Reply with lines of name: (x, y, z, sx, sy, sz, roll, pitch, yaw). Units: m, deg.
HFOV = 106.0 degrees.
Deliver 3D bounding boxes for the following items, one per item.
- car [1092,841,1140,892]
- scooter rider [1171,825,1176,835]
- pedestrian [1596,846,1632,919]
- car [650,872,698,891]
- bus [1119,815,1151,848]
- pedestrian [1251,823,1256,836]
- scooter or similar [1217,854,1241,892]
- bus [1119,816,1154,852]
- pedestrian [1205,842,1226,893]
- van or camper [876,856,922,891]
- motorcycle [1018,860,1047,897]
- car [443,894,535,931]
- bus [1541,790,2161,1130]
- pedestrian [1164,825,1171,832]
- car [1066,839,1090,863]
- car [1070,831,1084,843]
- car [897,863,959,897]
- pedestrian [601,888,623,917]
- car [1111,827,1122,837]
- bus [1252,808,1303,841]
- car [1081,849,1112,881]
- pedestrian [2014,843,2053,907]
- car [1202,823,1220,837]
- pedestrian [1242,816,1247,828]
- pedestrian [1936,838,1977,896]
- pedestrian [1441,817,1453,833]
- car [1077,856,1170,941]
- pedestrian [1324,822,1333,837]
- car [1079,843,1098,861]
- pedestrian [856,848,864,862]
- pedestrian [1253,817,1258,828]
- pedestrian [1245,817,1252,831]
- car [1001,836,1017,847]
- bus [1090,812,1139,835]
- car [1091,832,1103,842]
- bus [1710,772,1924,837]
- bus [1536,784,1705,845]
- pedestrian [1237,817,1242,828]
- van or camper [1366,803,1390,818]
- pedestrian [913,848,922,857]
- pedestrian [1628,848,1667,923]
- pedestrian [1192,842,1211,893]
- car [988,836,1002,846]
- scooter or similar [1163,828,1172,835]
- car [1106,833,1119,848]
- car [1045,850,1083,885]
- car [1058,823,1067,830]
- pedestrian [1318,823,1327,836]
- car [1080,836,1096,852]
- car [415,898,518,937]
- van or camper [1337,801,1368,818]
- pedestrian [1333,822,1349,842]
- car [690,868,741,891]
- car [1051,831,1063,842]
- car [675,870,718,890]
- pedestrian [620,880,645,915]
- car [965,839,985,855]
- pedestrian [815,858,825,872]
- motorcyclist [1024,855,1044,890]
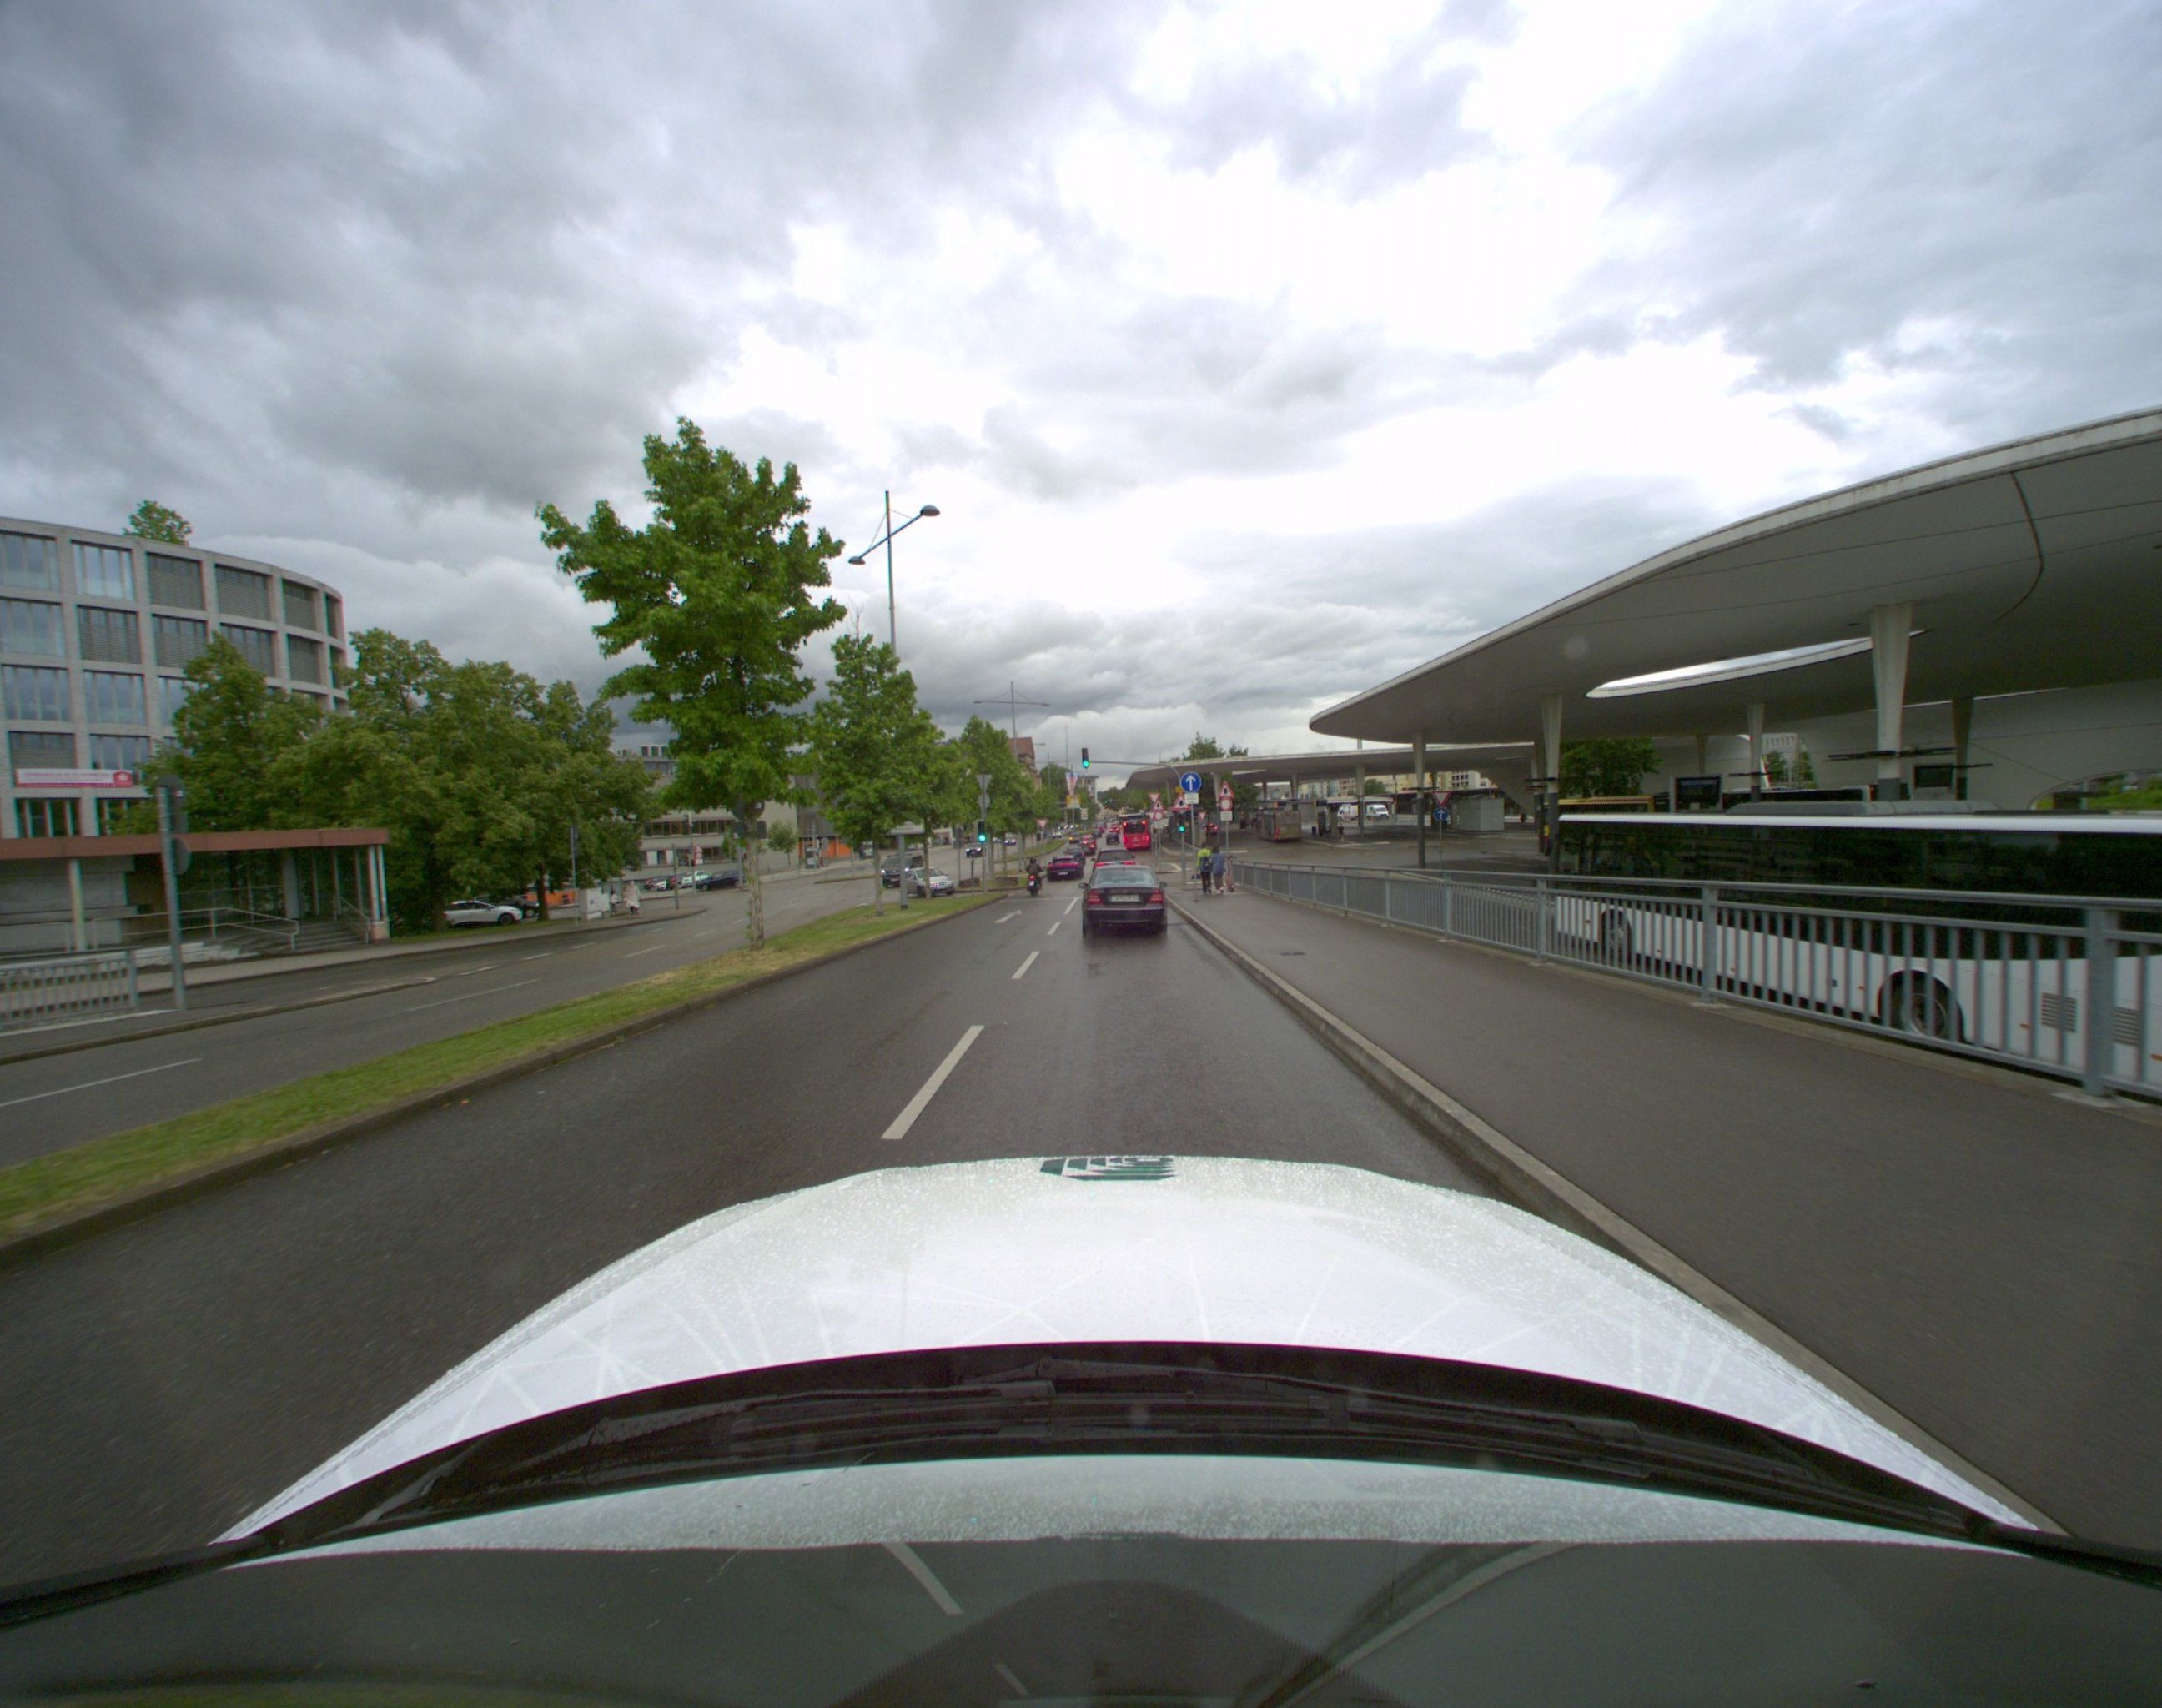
car: (1.635, 0.496, 38.121, 1.950, 1.875, 4.878, -6, 3, 2)
scooter rider: (13.696, -3.578, 120.948, 0.587, 1.489, 0.768, -3, 2, 16)
pedestrian: (14.440, 0.747, 22.067, 0.589, 1.886, 0.642, -4, 4, -35)
car: (-40.699, 2.780, 81.562, 1.743, 1.495, 3.813, -2, 3, 41)
bus: (6.171, -2.633, 93.461, 3.277, 3.288, 8.859, -4, 3, 3)
pedestrian: (23.364, -3.354, 110.257, 0.559, 1.691, 0.613, -3, 3, -5)
scooter or similar: (5.010, 0.642, 27.583, 0.462, 1.221, 1.860, -4, -1, 2)
bus: (5.827, -2.218, 86.247, 3.272, 3.291, 10.890, -4, 3, 3)
pedestrian: (4.449, 0.438, 26.976, 0.587, 1.670, 0.580, -1, -2, 1)
van or camper: (-12.091, 1.300, 54.432, 2.214, 2.072, 5.272, -5, -1, -6)
motorcycle: (-1.965, 0.985, 33.221, 0.789, 1.261, 1.858, -5, 3, 6)
car: (-33.385, 3.233, 45.981, 1.706, 1.567, 3.862, -1, 3, 44)
bus: (12.287, 0.710, 13.260, 2.834, 3.360, 12.436, 0, 4, 2)
pedestrian: (12.852, -3.832, 121.111, 0.906, 0.985, 0.636, -2, -1, 16)
car: (-0.236, -0.276, 67.246, 1.669, 1.623, 3.874, -6, 3, 2)
car: (-0.610, -2.495, 117.574, 1.858, 1.684, 4.002, 0, 0, 2)
car: (-7.501, 1.284, 39.660, 1.643, 1.448, 3.837, -5, 1, -32)
pedestrian: (-22.392, 2.307, 38.865, 0.652, 1.292, 0.628, -5, 0, -11)
car: (6.172, -3.854, 142.573, 1.858, 1.684, 4.002, 0, 0, 2)
bus: (20.369, -3.151, 85.186, 2.711, 3.043, 12.099, -4, 3, 2)
car: (1.032, 0.637, 51.074, 1.734, 1.566, 3.874, -6, 3, 2)
pedestrian: (25.694, 0.551, 21.961, 0.646, 1.654, 0.632, -6, 3, -38)
car: (17.450, -3.265, 109.477, 1.705, 1.661, 4.242, -3, 3, 1)
pedestrian: (24.329, -4.715, 121.025, 0.573, 1.716, 0.565, -1, -1, 37)
pedestrian: (25.704, 0.379, 23.911, 0.566, 1.654, 0.558, -4, 2, 8)
pedestrian: (37.771, -2.999, 84.107, 0.793, 1.586, 0.907, -2, 1, -4)
car: (0.878, 0.848, 17.451, 1.691, 1.462, 4.306, -2, 1, 2)
pedestrian: (25.024, -2.468, 82.368, 0.786, 1.377, 0.637, -3, 2, 19)
car: (0.794, -0.192, 82.651, 1.569, 1.504, 3.875, -5, 3, 3)
pedestrian: (-27.321, 0.157, 100.741, 0.471, 1.683, 0.765, -4, 2, 9)
pedestrian: (25.923, -4.640, 121.108, 0.573, 1.578, 0.565, -1, -1, 37)
pedestrian: (24.147, -4.330, 117.435, 0.716, 2.014, 0.674, 0, -1, 28)
car: (-11.936, -2.052, 134.655, 1.839, 1.504, 4.925, -3, 2, 3)
bus: (6.574, -6.028, 162.151, 2.861, 3.986, 11.731, -5, 3, -37)
car: (2.600, -2.755, 132.954, 1.858, 1.684, 4.002, 0, 0, 2)
bus: (43.690, -2.966, 49.191, 2.456, 3.256, 11.981, -4, 3, 2)
bus: (33.771, -2.443, 51.929, 2.779, 3.256, 12.144, -3, 2, 1)
pedestrian: (23.563, -4.744, 121.086, 0.573, 1.578, 0.565, 0, -1, 32)
van or camper: (47.395, -6.932, 129.868, 1.986, 2.103, 5.483, -1, 1, 2)
pedestrian: (-25.500, -0.196, 127.223, 0.967, 1.267, 0.854, 1, 4, 23)
pedestrian: (15.058, 0.826, 21.644, 0.588, 1.903, 0.642, -5, 3, -31)
pedestrian: (3.991, 0.441, 26.982, 0.520, 1.670, 0.581, -2, -1, 1)
car: (-15.963, -2.375, 151.089, 1.840, 1.652, 4.423, -3, 2, 2)
scooter or similar: (12.847, -3.309, 121.181, 1.233, 1.012, 0.767, -3, 2, 16)
car: (4.115, -1.758, 105.867, 1.569, 1.566, 3.874, -6, 3, 2)
car: (-0.962, 0.758, 47.562, 1.809, 1.570, 4.408, -6, 3, 2)
car: (-4.715, -7.034, 208.563, 1.773, 1.566, 3.433, -6, 3, 2)
pedestrian: (24.984, -2.532, 84.383, 0.786, 1.226, 0.637, -3, 2, 19)
car: (0.867, -1.196, 93.463, 1.569, 1.566, 3.874, -6, 3, 2)
car: (-32.460, 3.303, 43.108, 4.080, 1.508, 1.707, -6, 3, -44)
van or camper: (45.419, -7.436, 136.240, 4.591, 2.557, 2.119, -1, 1, 1)
pedestrian: (22.544, -1.889, 70.713, 0.721, 1.683, 1.013, -6, 2, -24)
car: (-31.319, 2.195, 69.887, 3.668, 1.438, 1.821, -6, 3, -15)
car: (-4.401, -3.170, 146.949, 1.643, 1.804, 3.625, 0, -1, -11)
car: (-36.718, 2.441, 77.927, 1.615, 1.495, 3.600, -3, 3, 17)
pedestrian: (-21.454, 2.066, 38.961, 0.647, 1.570, 0.633, -5, 0, 14)
car: (-13.133, -0.913, 101.006, 1.903, 1.661, 4.857, -3, 3, -1)
pedestrian: (-28.279, 1.162, 88.222, 0.676, 1.392, 0.721, -4, 2, 0)
motorcyclist: (-1.924, 0.750, 33.385, 0.638, 1.347, 0.690, -4, 3, 5)
